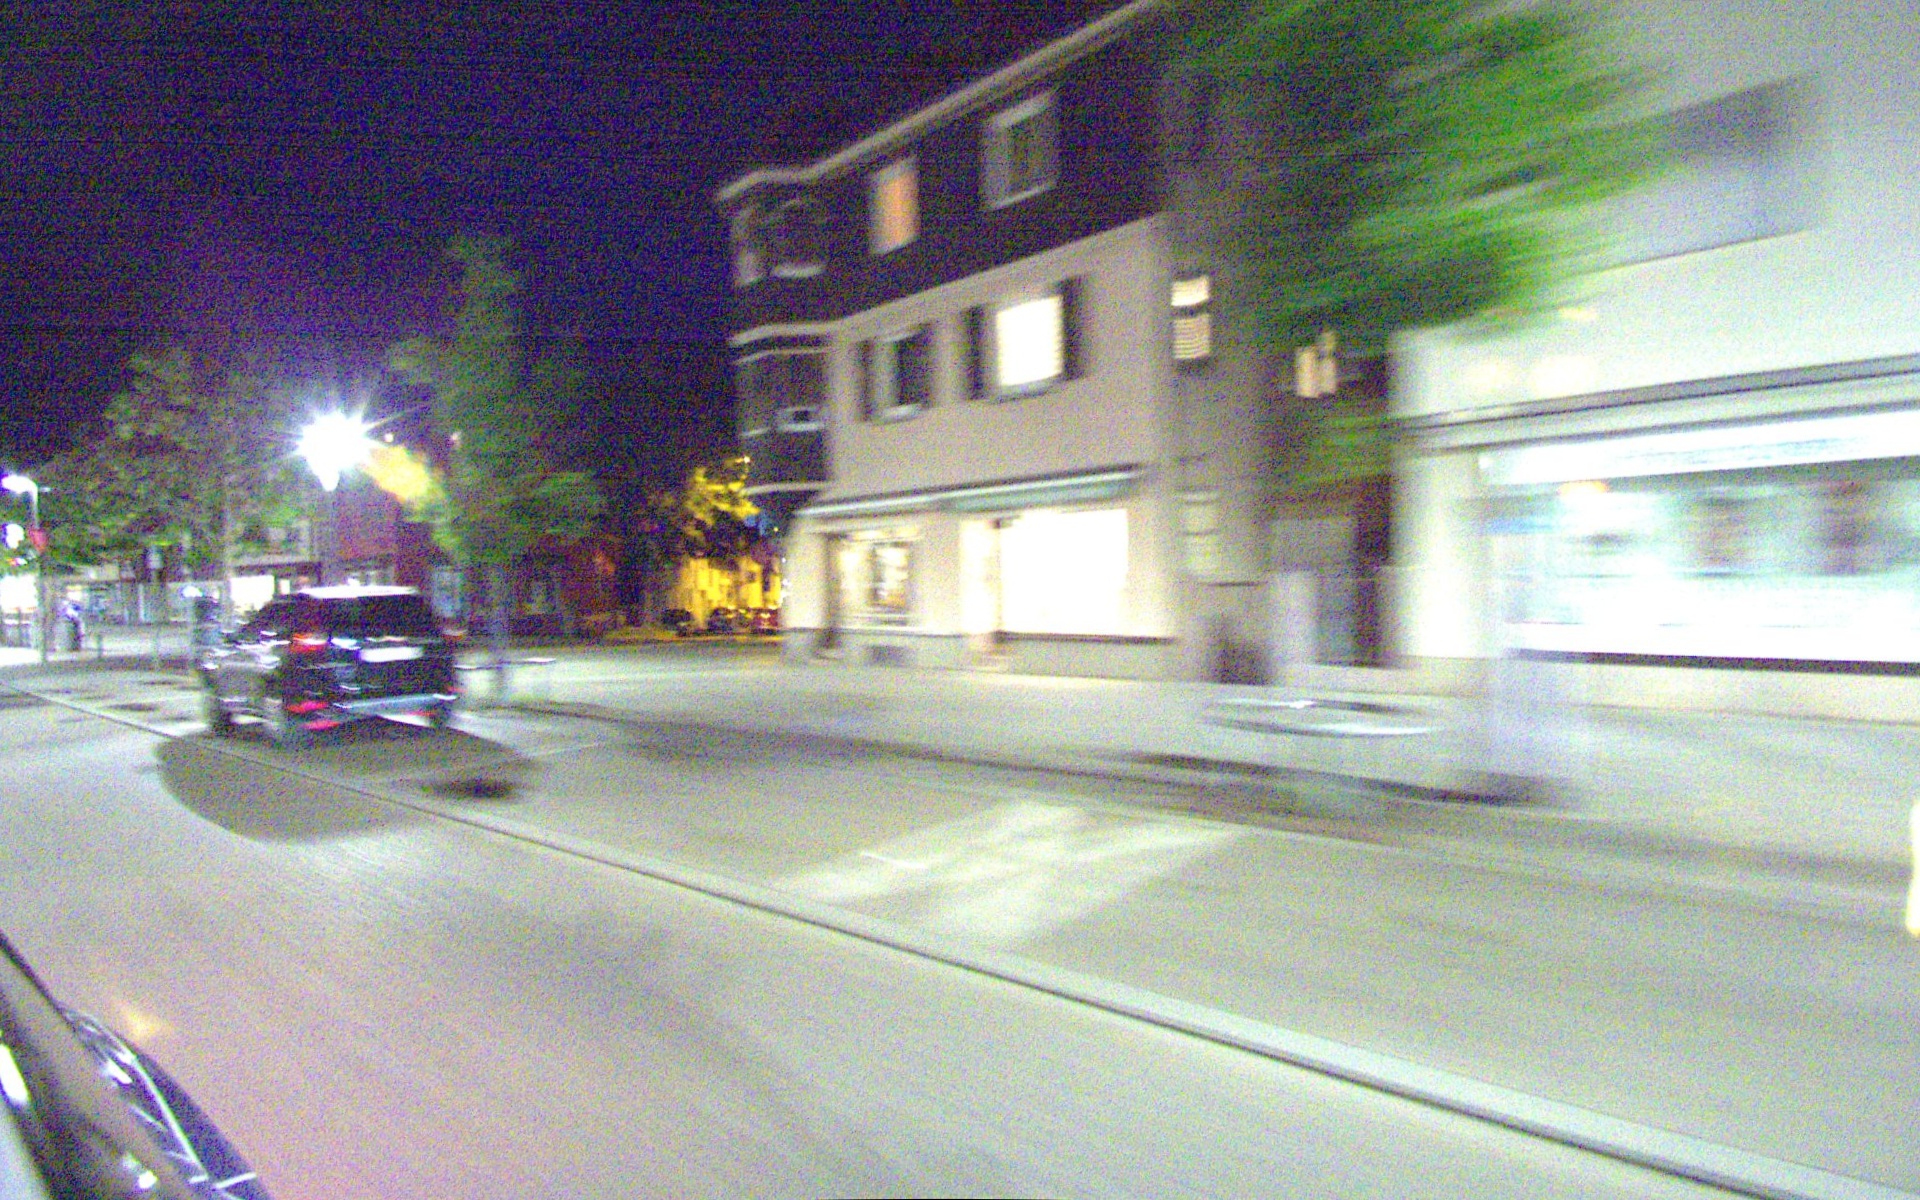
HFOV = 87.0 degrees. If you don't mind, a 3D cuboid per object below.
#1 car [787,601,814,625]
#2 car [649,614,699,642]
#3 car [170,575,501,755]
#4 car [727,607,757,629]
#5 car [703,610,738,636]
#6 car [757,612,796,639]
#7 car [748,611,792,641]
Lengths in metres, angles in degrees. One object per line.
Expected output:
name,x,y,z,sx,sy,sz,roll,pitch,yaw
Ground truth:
car,-10.975,0.866,69.664,1.552,1.580,3.422,0,1,-3
car,-14.763,1.462,52.428,1.793,1.386,4.005,0,-1,-6
car,-7.707,0.639,12.259,5.001,1.703,1.997,-1,2,42
car,-16.471,1.369,76.686,1.793,1.650,4.005,0,-1,-6
car,-16.076,1.550,68.049,1.793,1.650,4.005,0,-1,-6
car,-9.910,1.378,54.930,1.793,1.386,4.005,0,-1,-6
car,-9.258,1.263,49.570,1.793,1.386,4.005,0,-1,-6
